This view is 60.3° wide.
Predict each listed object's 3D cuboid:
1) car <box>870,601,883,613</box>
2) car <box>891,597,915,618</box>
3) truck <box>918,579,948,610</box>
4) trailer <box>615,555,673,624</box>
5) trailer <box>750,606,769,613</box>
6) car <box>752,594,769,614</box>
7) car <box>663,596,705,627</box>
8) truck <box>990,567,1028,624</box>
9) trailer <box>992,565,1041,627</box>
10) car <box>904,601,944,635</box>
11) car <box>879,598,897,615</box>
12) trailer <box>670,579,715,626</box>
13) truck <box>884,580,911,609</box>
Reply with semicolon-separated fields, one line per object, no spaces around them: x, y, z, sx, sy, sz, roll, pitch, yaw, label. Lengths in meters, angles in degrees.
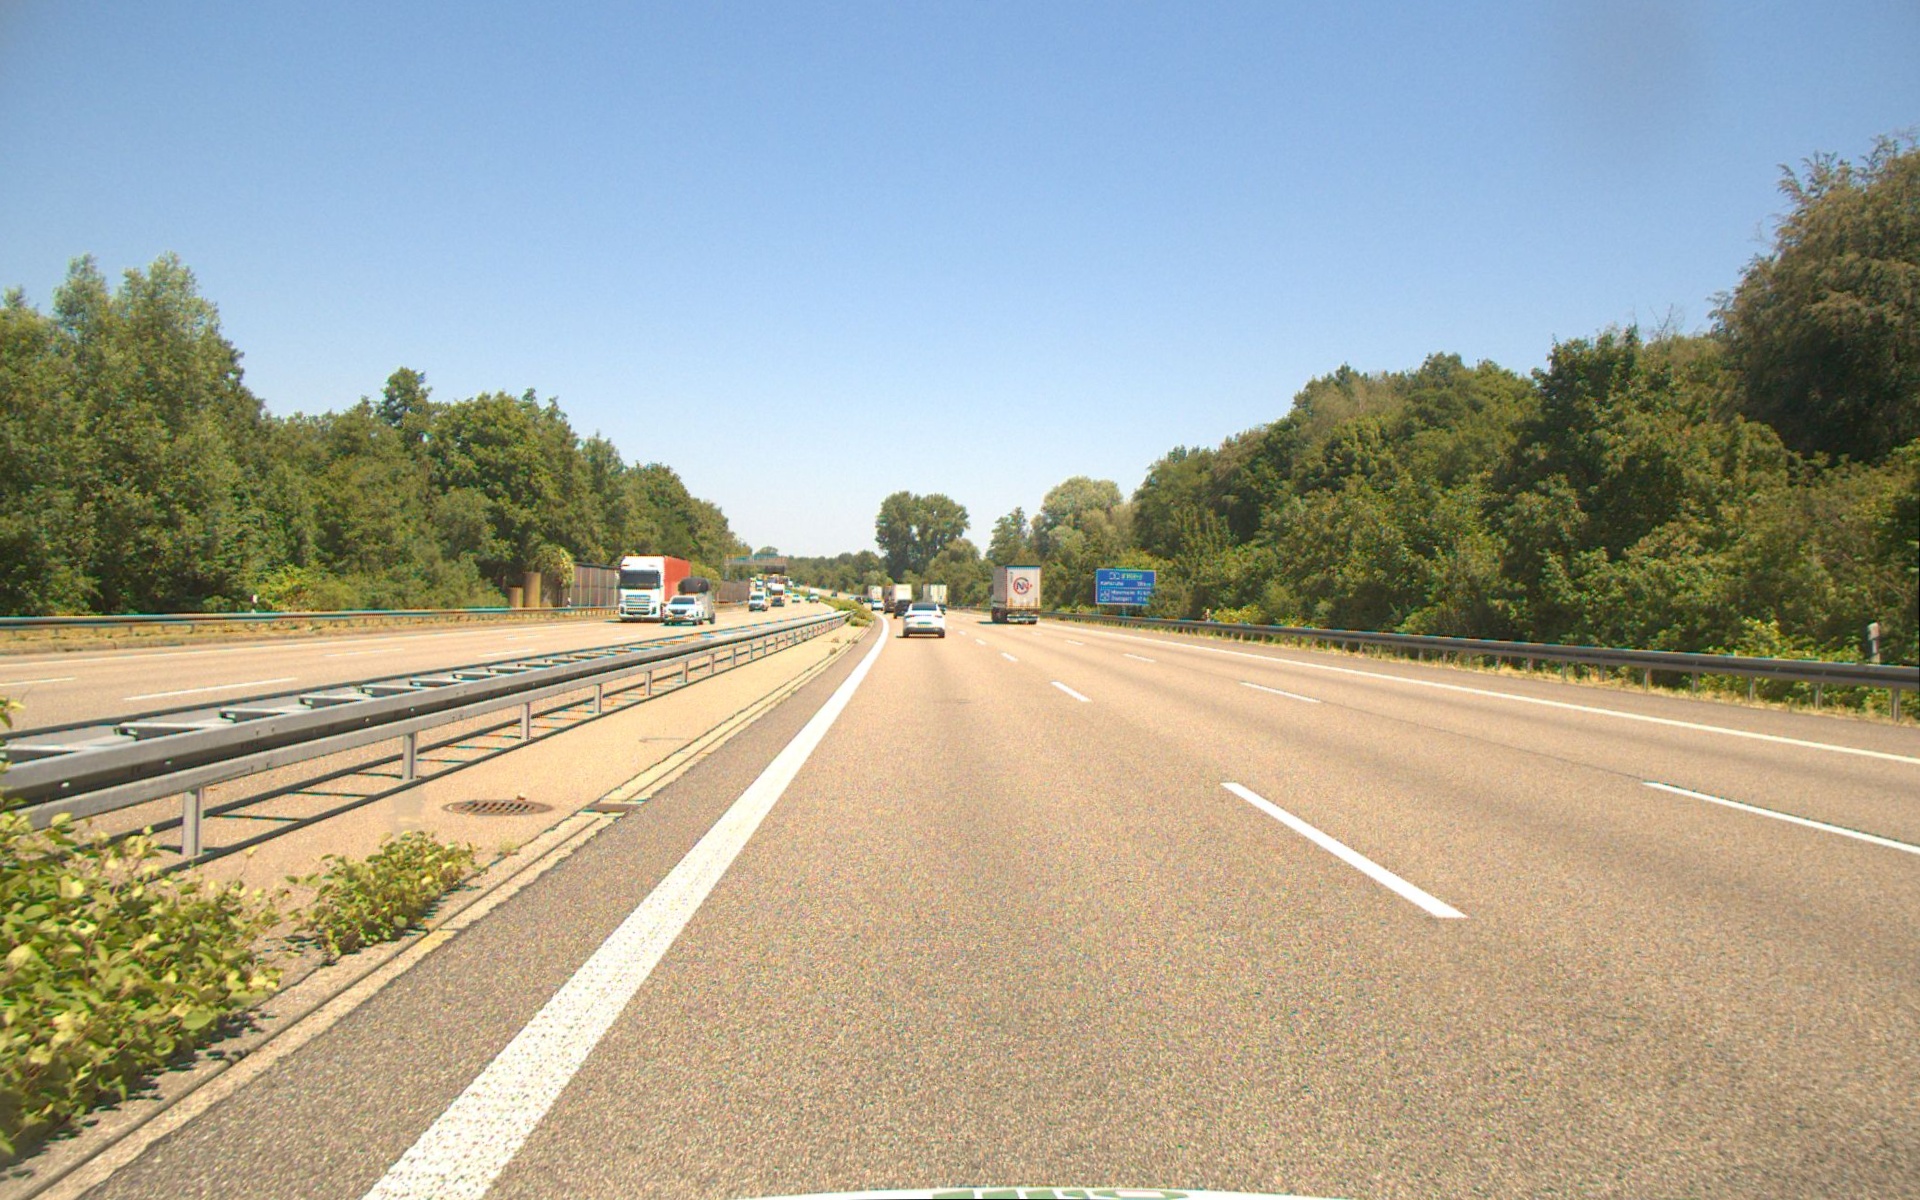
-12.813;1.069;253.172;1.690;1.814;3.995;1;0;-6;car
-5.107;0.673;147.712;1.955;1.803;3.996;1;0;-5;car
-4.028;-0.841;243.601;3.426;4.386;10.972;1;0;-7;truck
-19.597;-0.645;102.763;2.635;4.113;6.033;1;0;-3;trailer
-26.403;1.256;217.413;2.122;0.821;6.265;1;0;-11;trailer
-25.538;0.509;211.574;1.987;2.473;5.400;1;0;-10;car
-15.180;0.617;91.009;1.799;1.660;4.017;1;0;-3;car
3.822;-0.345;130.503;2.553;4.362;5.433;1;0;-2;truck
4.127;-0.307;123.470;2.571;4.335;14.053;1;0;-2;trailer
-1.530;0.762;70.922;1.680;1.393;3.374;1;0;-1;car
-8.848;0.824;203.158;1.956;2.049;3.993;1;0;-7;car
-15.412;0.136;95.506;2.044;2.659;4.953;1;0;-3;trailer
-9.708;-0.806;255.547;3.295;4.386;10.814;1;0;-6;truck
